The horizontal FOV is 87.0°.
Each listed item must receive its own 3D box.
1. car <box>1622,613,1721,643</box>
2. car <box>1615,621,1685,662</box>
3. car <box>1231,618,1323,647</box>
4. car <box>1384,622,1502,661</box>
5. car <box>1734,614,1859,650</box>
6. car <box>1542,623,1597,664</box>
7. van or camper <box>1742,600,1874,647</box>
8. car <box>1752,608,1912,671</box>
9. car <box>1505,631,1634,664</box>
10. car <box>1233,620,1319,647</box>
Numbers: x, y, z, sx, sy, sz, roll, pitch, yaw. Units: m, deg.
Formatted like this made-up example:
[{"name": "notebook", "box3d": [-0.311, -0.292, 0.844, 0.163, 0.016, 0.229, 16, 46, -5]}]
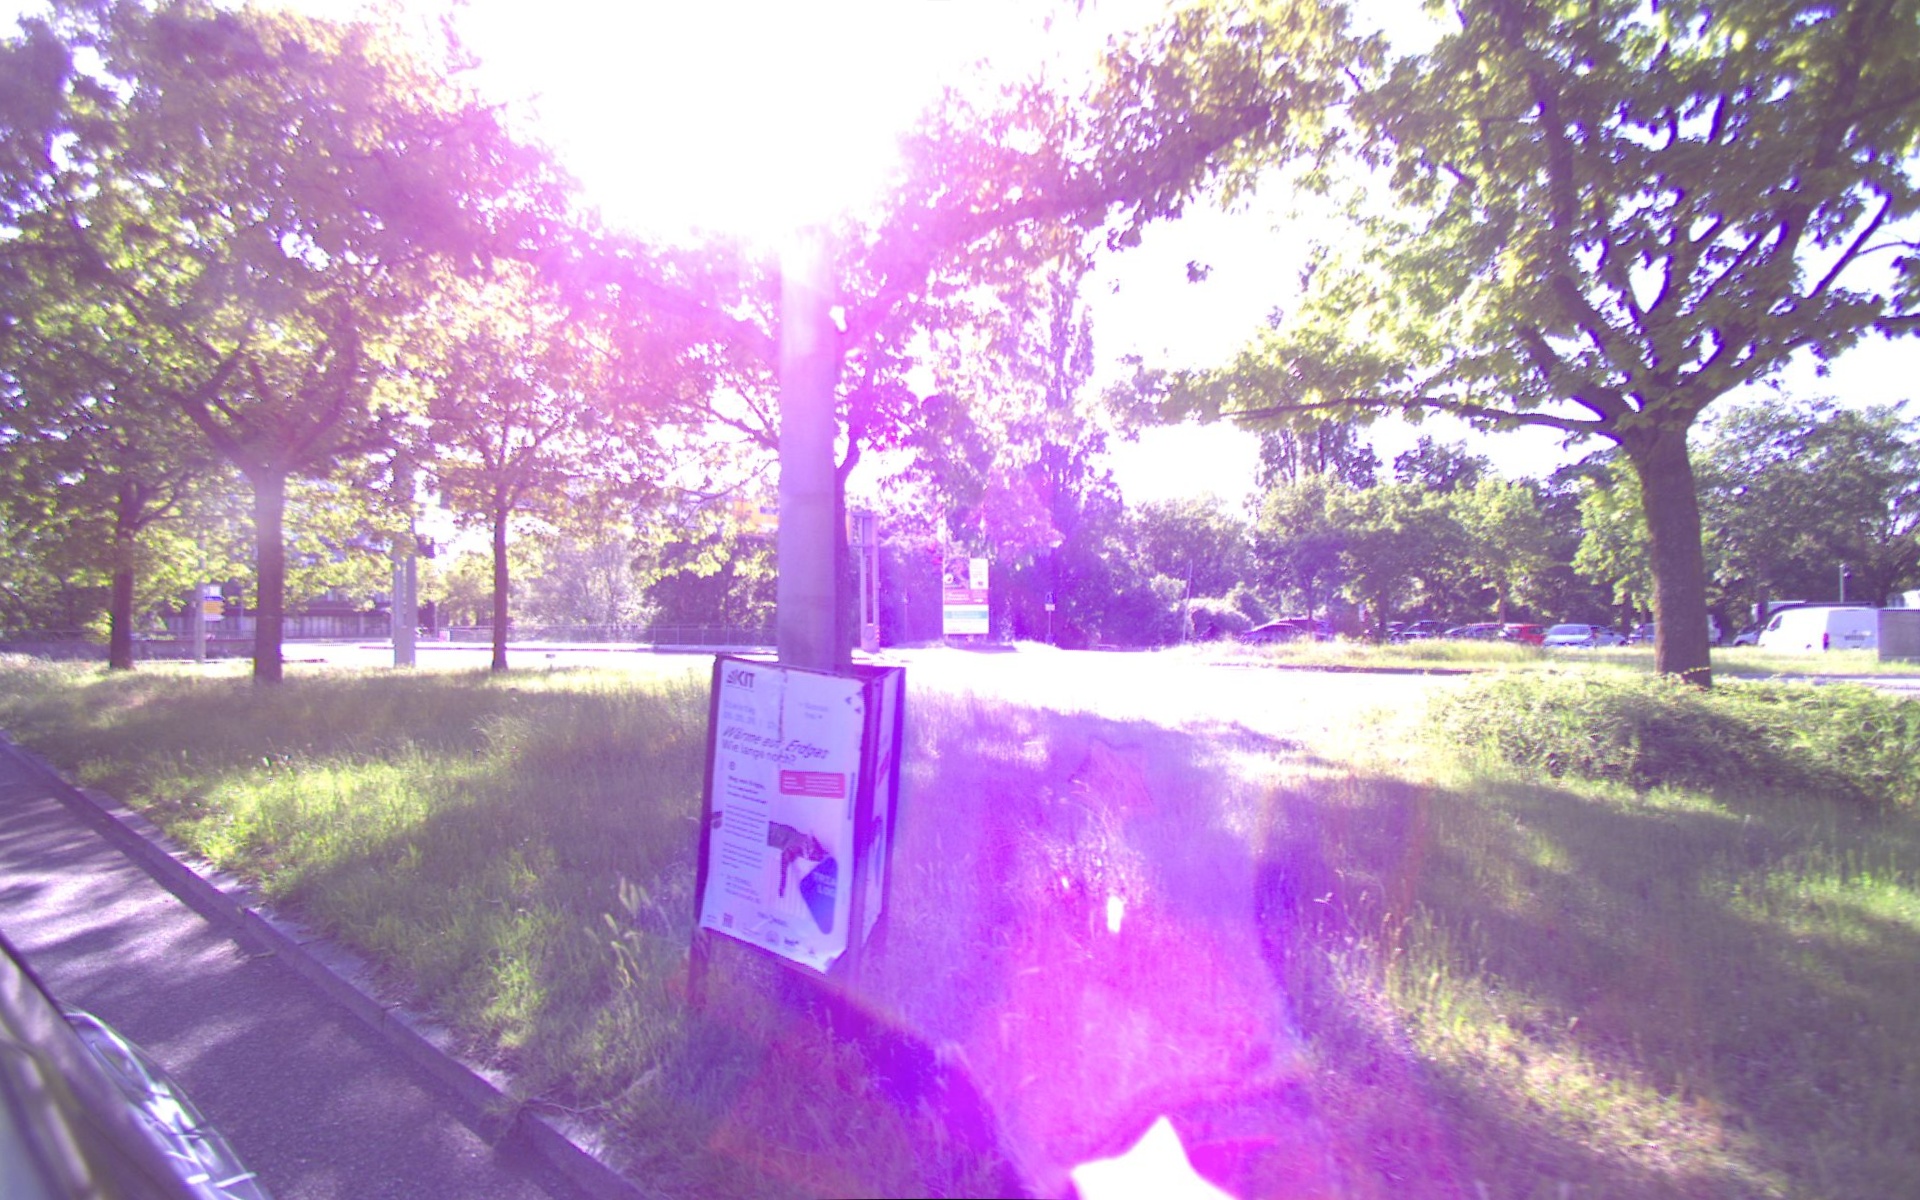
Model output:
[{"name": "car", "box3d": [38.576, 1.544, 54.895, 1.969, 1.521, 4.005, 1, -3, -41]}, {"name": "car", "box3d": [31.727, 1.863, 46.491, 3.825, 1.618, 1.657, -3, 1, -40]}, {"name": "car", "box3d": [16.987, 1.750, 54.473, 4.509, 1.475, 1.993, -1, 0, 12]}, {"name": "car", "box3d": [19.476, 1.646, 40.975, 1.791, 1.459, 4.012, 0, -1, -30]}, {"name": "car", "box3d": [38.454, 1.476, 46.596, 1.936, 1.484, 4.011, -3, 0, -33]}, {"name": "car", "box3d": [29.099, 2.036, 48.289, 1.653, 1.618, 3.834, -2, 1, 40]}, {"name": "van or camper", "box3d": [40.303, 1.130, 48.205, 1.966, 2.112, 4.414, 0, -2, -32]}, {"name": "car", "box3d": [30.023, 1.332, 35.106, 2.219, 2.029, 4.974, -1, -1, 15]}, {"name": "car", "box3d": [22.572, 1.747, 37.518, 3.990, 1.137, 1.801, -1, -1, 35]}, {"name": "car", "box3d": [18.045, 1.907, 57.951, 4.509, 1.475, 1.993, -1, 0, 12]}]
